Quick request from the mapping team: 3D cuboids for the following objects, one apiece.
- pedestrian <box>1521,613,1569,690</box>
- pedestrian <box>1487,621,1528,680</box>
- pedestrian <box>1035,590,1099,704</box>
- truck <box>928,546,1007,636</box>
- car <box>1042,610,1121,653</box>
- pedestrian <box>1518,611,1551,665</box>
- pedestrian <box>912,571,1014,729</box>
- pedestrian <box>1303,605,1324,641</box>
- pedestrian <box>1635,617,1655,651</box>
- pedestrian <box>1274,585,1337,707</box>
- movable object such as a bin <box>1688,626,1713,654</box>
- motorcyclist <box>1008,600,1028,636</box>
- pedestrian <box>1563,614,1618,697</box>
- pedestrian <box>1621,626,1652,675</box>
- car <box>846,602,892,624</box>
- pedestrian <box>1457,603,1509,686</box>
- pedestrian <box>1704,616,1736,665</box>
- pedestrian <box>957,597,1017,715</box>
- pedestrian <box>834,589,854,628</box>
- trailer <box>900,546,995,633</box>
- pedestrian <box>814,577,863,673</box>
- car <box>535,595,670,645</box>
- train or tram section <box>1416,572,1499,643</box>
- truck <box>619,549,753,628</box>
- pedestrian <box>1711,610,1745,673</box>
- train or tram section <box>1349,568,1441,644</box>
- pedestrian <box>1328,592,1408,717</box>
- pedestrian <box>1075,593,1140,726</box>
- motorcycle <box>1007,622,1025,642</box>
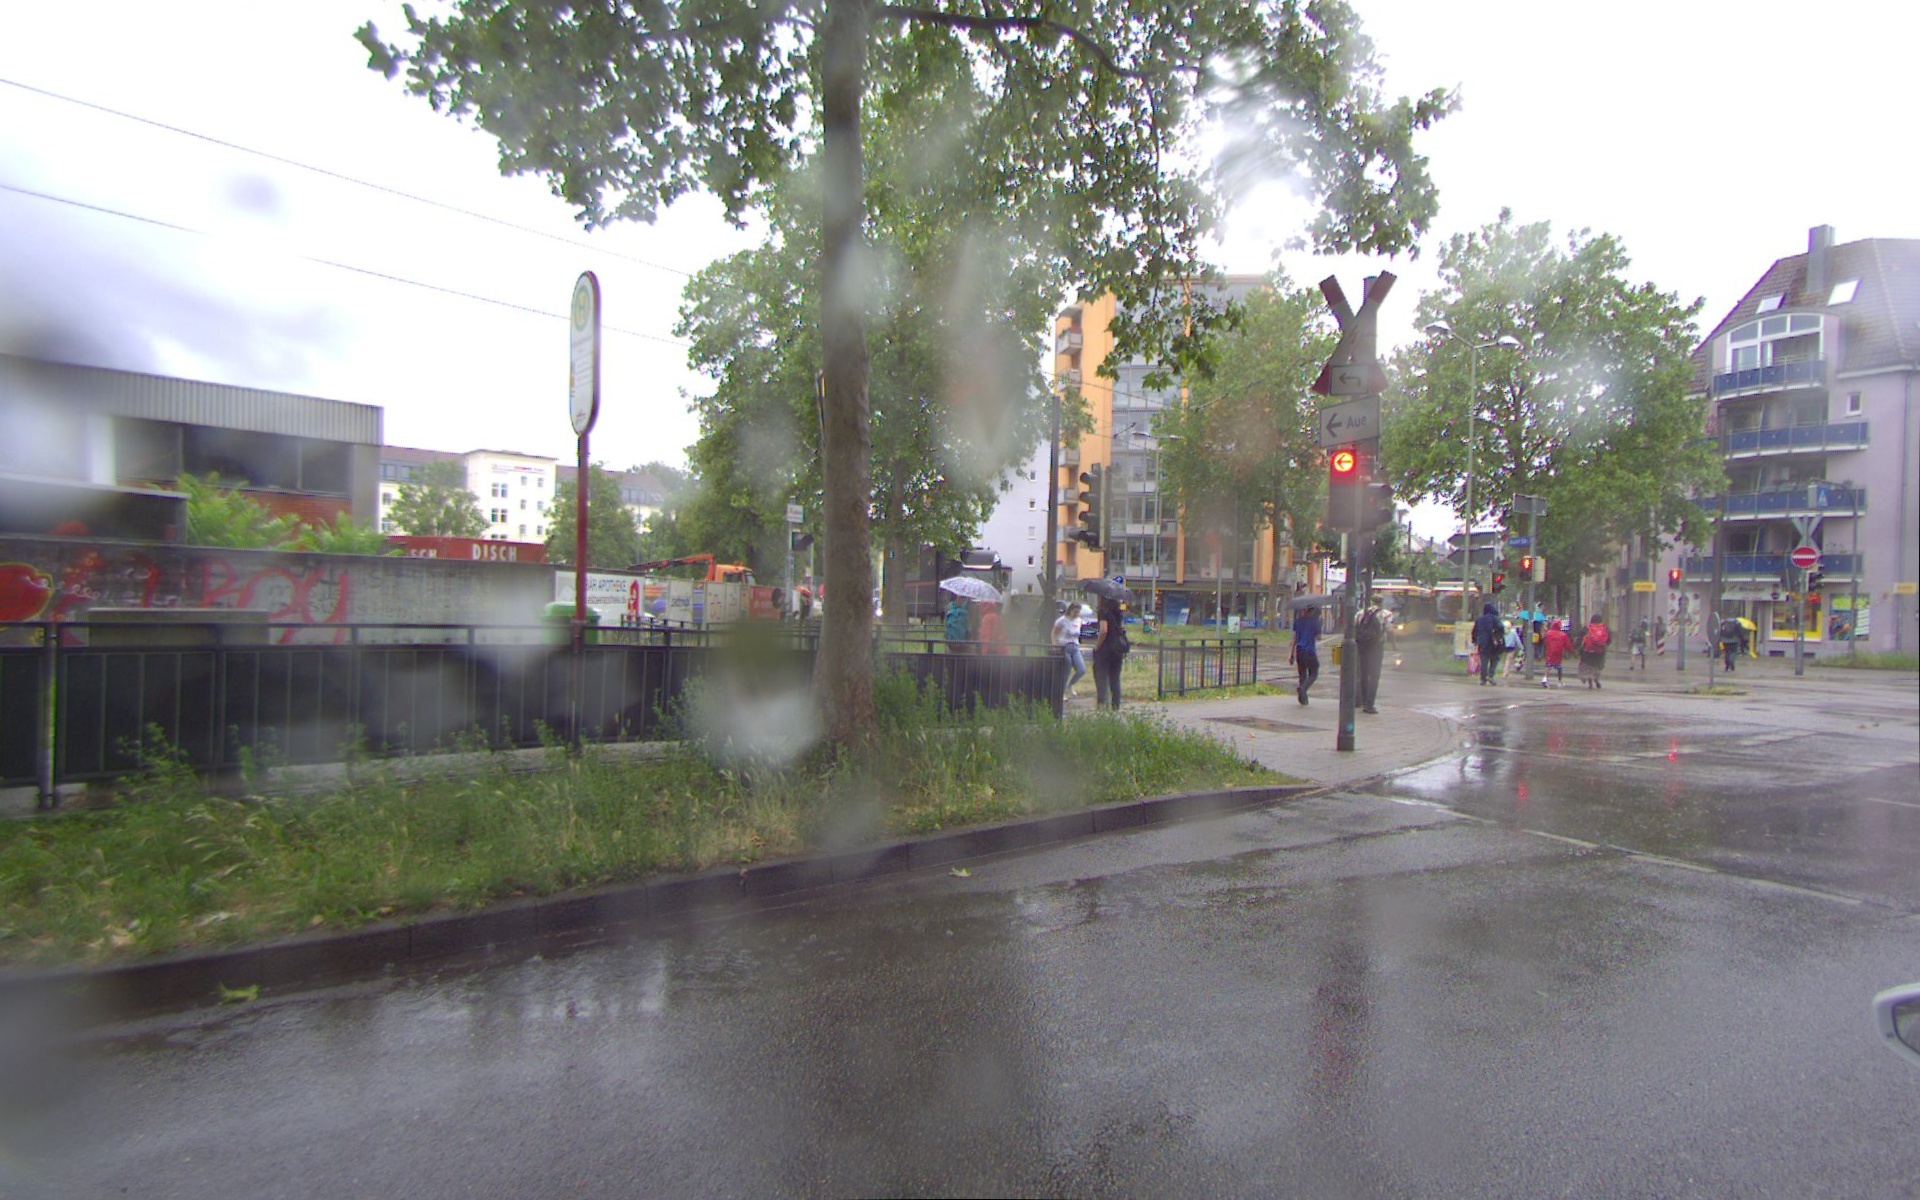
[{"bbox_3d":[12.138,1.049,20.840,0.654,1.540,0.676,1,0,-40],"label":"pedestrian"},{"bbox_3d":[13.232,1.207,24.265,0.704,1.367,0.650,1,1,-44],"label":"pedestrian"},{"bbox_3d":[1.700,0.728,15.973,0.675,1.752,0.752,2,1,42],"label":"pedestrian"},{"bbox_3d":[0.266,-0.387,46.050,2.593,3.842,4.444,2,0,-13],"label":"truck"},{"bbox_3d":[4.834,1.231,40.488,1.585,1.551,4.017,1,1,-19],"label":"car"},{"bbox_3d":[19.979,1.310,34.914,0.943,1.789,0.951,2,0,31],"label":"pedestrian"},{"bbox_3d":[0.054,0.604,12.463,0.966,1.851,1.077,-2,0,15],"label":"pedestrian"},{"bbox_3d":[18.410,1.196,52.298,0.941,1.789,0.952,2,0,20],"label":"pedestrian"},{"bbox_3d":[33.864,1.680,49.669,0.663,1.622,0.966,2,0,29],"label":"pedestrian"},{"bbox_3d":[5.535,0.713,16.142,0.854,1.889,0.892,1,0,16],"label":"pedestrian"},{"bbox_3d":[34.080,1.827,46.238,0.661,1.253,0.745,2,0,-37],"label":"movable object such as a bin"},{"bbox_3d":[2.637,0.810,45.558,0.765,1.635,0.775,2,0,-5],"label":"motorcyclist"},{"bbox_3d":[12.885,1.110,20.527,0.809,1.646,0.724,0,0,-37],"label":"pedestrian"},{"bbox_3d":[20.345,1.501,30.201,0.638,1.414,0.782,1,0,26],"label":"pedestrian"},{"bbox_3d":[-8.262,1.173,90.928,3.930,1.808,1.996,2,0,-12],"label":"car"},{"bbox_3d":[11.070,0.935,21.271,0.823,1.721,0.689,-2,0,17],"label":"pedestrian"},{"bbox_3d":[34.283,1.817,45.337,0.879,2.179,0.902,2,0,-37],"label":"pedestrian"},{"bbox_3d":[0.383,0.766,14.102,0.782,1.593,0.659,-2,0,2],"label":"pedestrian"},{"bbox_3d":[-5.731,0.406,49.491,0.765,1.891,0.940,2,0,4],"label":"pedestrian"},{"bbox_3d":[-0.827,-0.463,50.741,2.593,3.899,10.114,2,0,-13],"label":"trailer"},{"bbox_3d":[-2.451,0.496,20.244,0.768,1.891,0.936,2,0,-18],"label":"pedestrian"},{"bbox_3d":[-10.433,0.579,29.395,3.447,1.323,1.405,2,0,10],"label":"car"},{"bbox_3d":[28.925,0.466,57.924,2.819,3.593,15.338,2,0,32],"label":"train or tram section"},{"bbox_3d":[-11.835,-0.459,43.634,5.383,3.205,2.164,2,0,-16],"label":"truck"},{"bbox_3d":[23.498,1.260,30.750,0.777,1.880,0.679,2,1,37],"label":"pedestrian"},{"bbox_3d":[25.793,0.427,58.806,2.839,3.818,17.211,2,0,30],"label":"train or tram section"},{"bbox_3d":[6.085,0.785,14.989,0.855,1.778,0.826,2,1,41],"label":"pedestrian"},{"bbox_3d":[1.943,0.770,13.261,0.782,1.705,0.660,-2,0,8],"label":"pedestrian"},{"bbox_3d":[2.523,1.464,45.635,0.435,0.853,1.544,2,0,-11],"label":"motorcycle"}]
